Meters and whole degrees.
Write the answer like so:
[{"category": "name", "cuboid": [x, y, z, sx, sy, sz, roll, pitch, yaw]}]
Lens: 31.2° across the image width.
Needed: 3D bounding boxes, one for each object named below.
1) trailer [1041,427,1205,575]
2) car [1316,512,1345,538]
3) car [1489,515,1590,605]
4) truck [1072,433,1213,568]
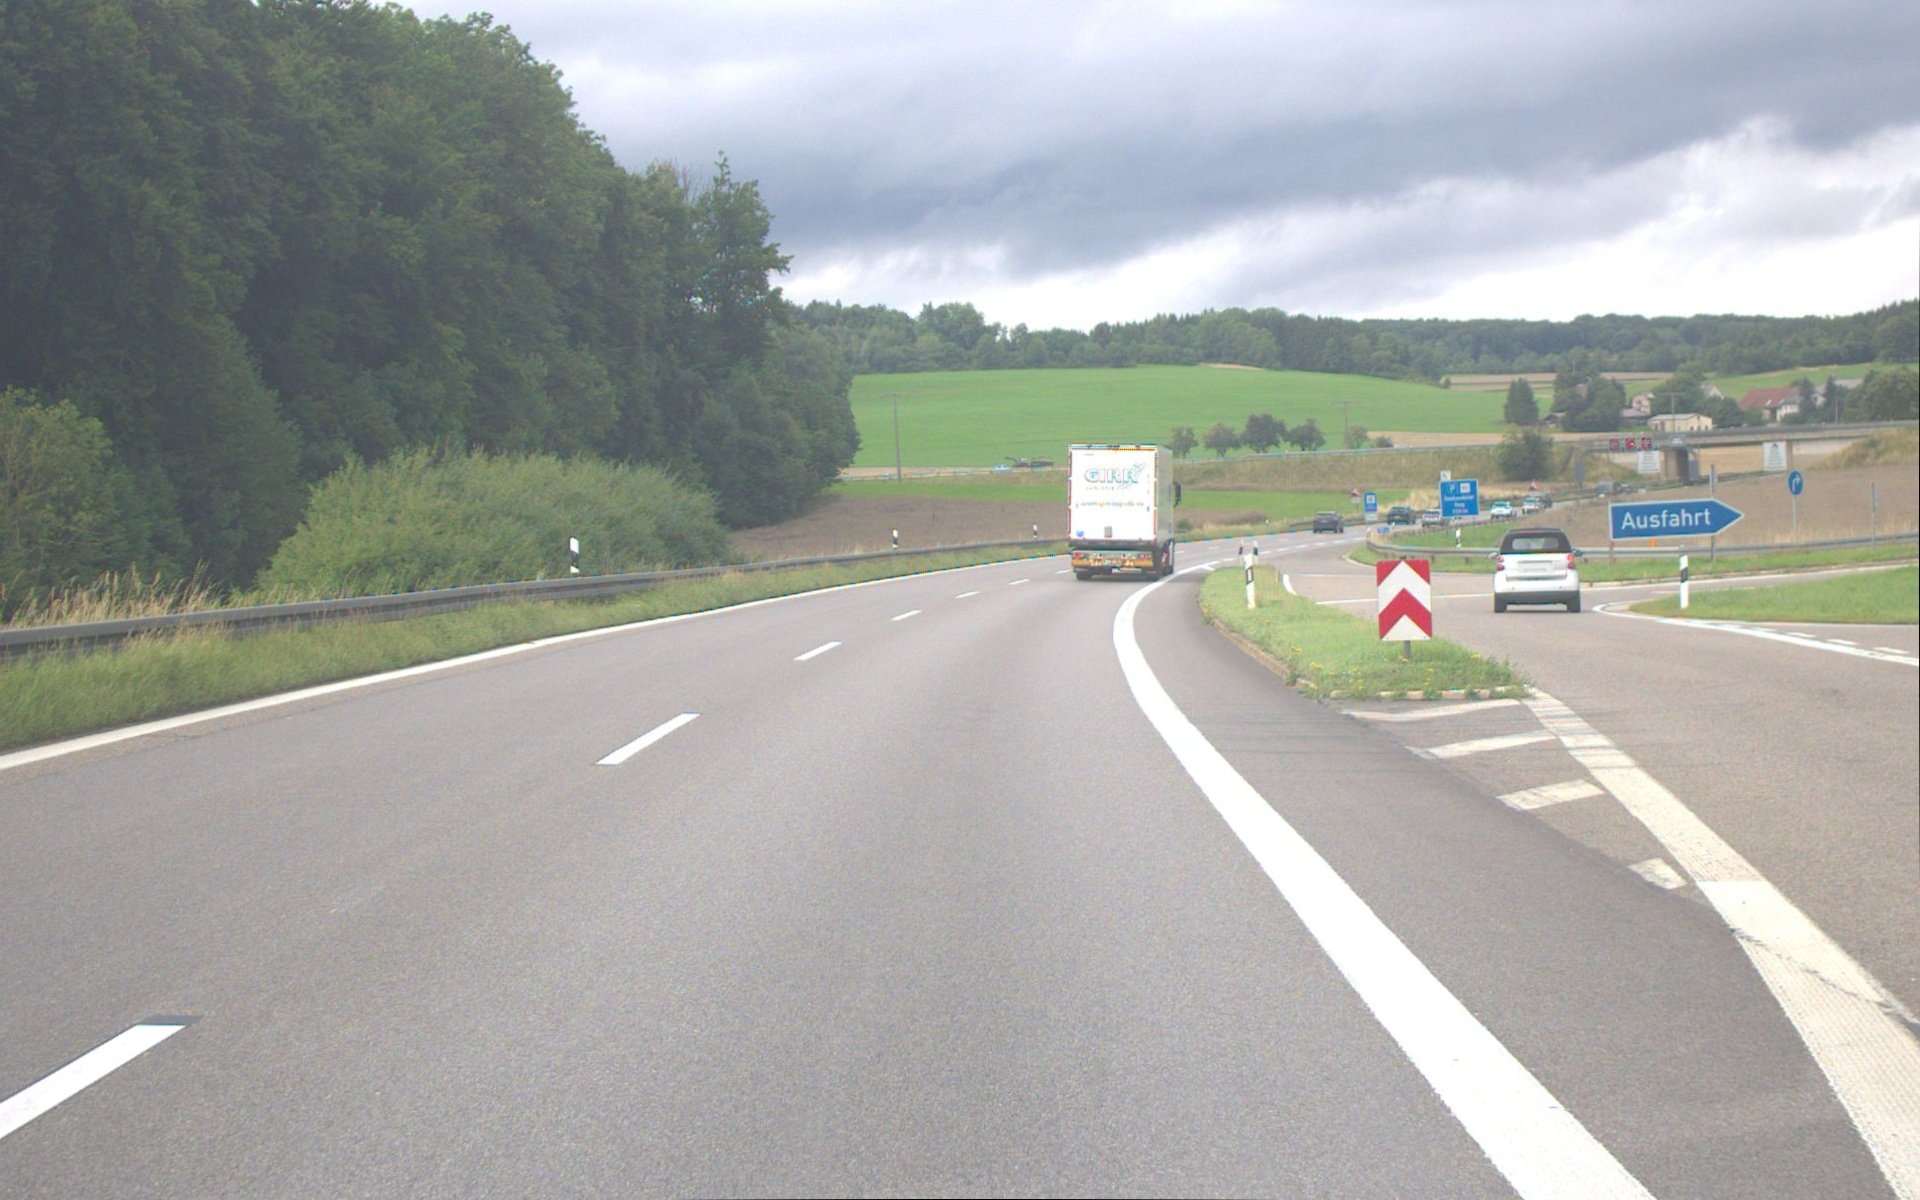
[{"category": "trailer", "cuboid": [5.139, -3.041, 104.879, 3.807, 4.160, 14.805, 1, 2, 7]}, {"category": "car", "cuboid": [27.437, -5.559, 254.702, 1.903, 1.789, 3.998, 0, 0, 9]}, {"category": "car", "cuboid": [10.819, -0.774, 64.342, 1.778, 1.546, 3.999, -1, 2, 9]}, {"category": "truck", "cuboid": [5.999, -3.226, 111.755, 3.789, 4.117, 8.262, 2, 2, 8]}]
